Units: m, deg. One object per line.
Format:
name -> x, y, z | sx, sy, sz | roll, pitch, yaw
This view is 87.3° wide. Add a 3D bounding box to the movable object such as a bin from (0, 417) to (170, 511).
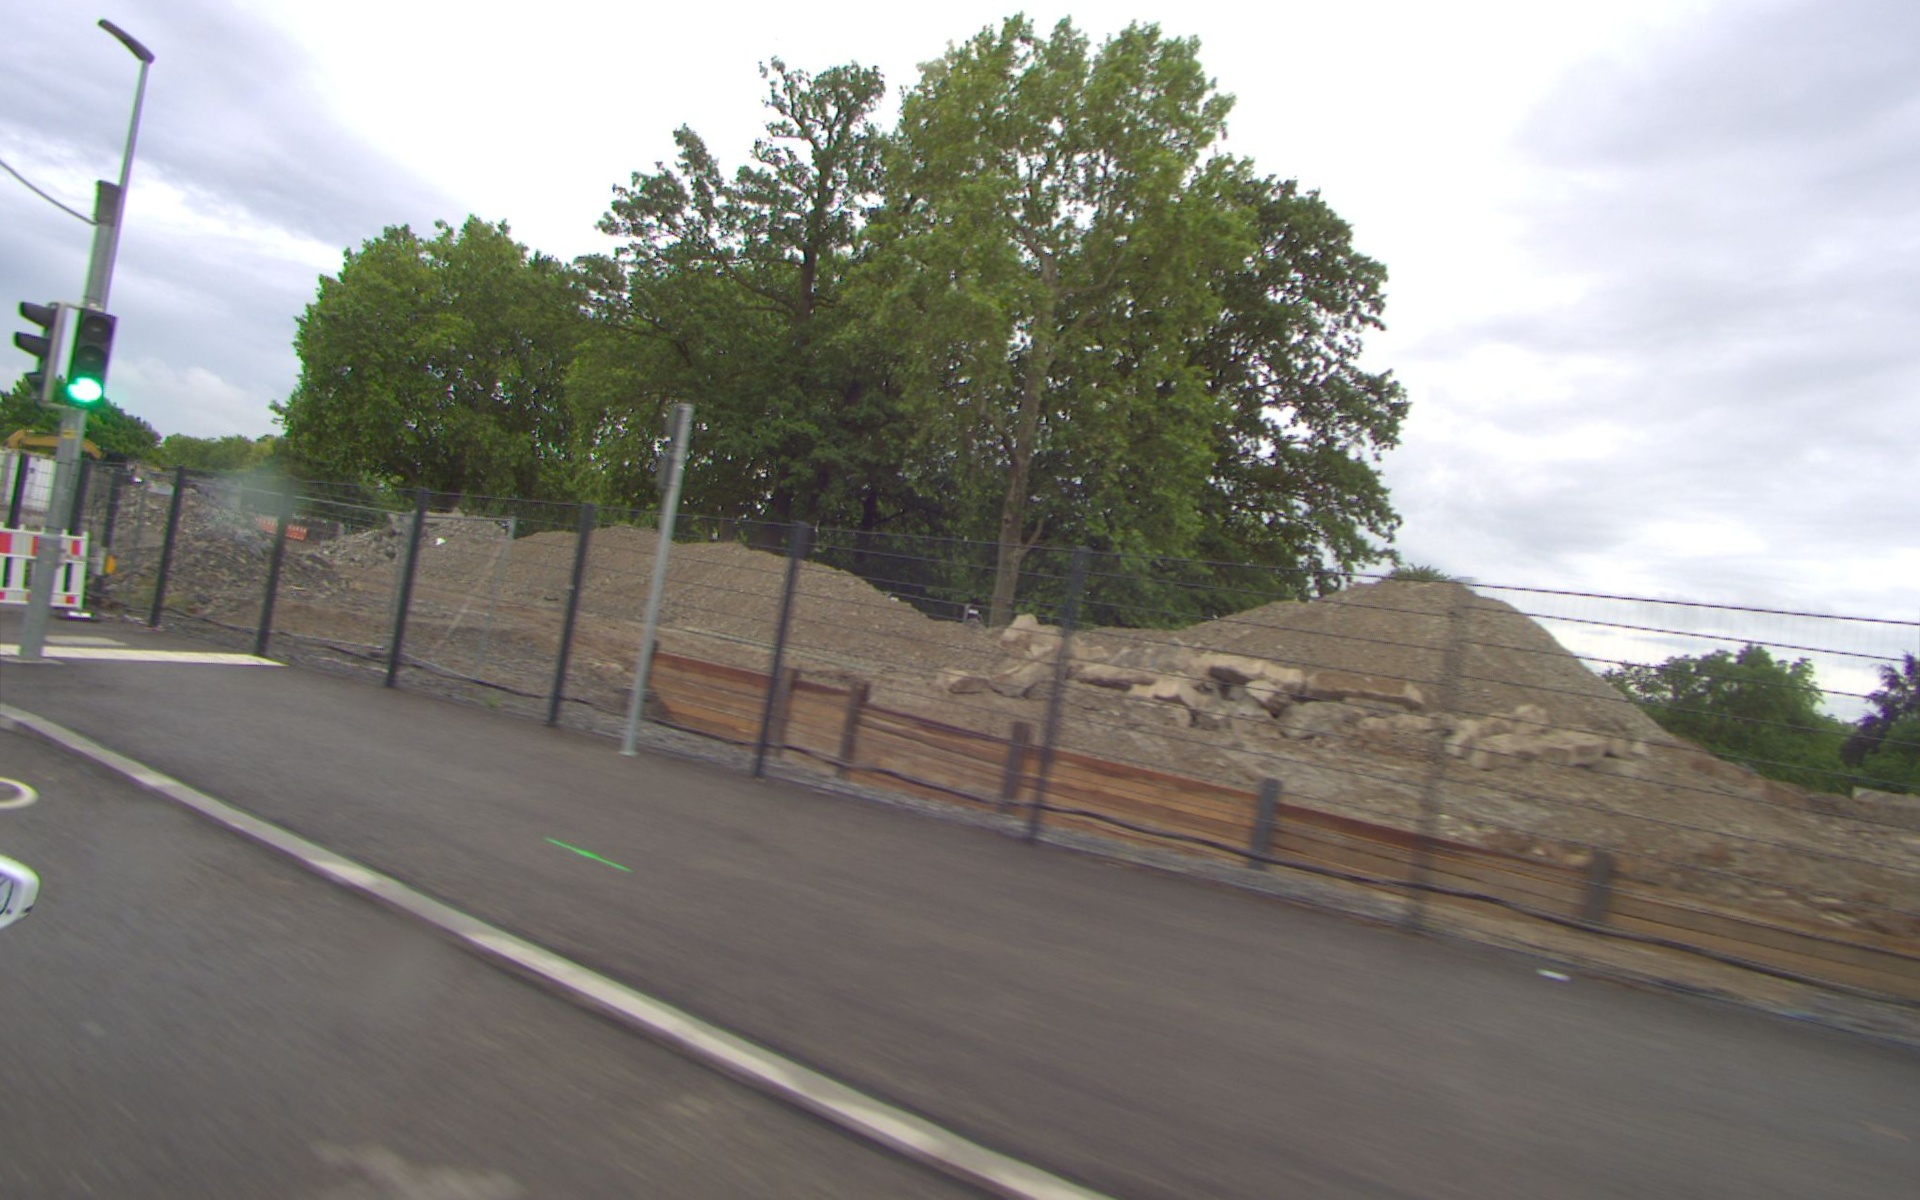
movable object such as a bin -> -79.231, -12.089, 91.034 | 3.437, 6.065, 11.239 | 7, -2, 36
